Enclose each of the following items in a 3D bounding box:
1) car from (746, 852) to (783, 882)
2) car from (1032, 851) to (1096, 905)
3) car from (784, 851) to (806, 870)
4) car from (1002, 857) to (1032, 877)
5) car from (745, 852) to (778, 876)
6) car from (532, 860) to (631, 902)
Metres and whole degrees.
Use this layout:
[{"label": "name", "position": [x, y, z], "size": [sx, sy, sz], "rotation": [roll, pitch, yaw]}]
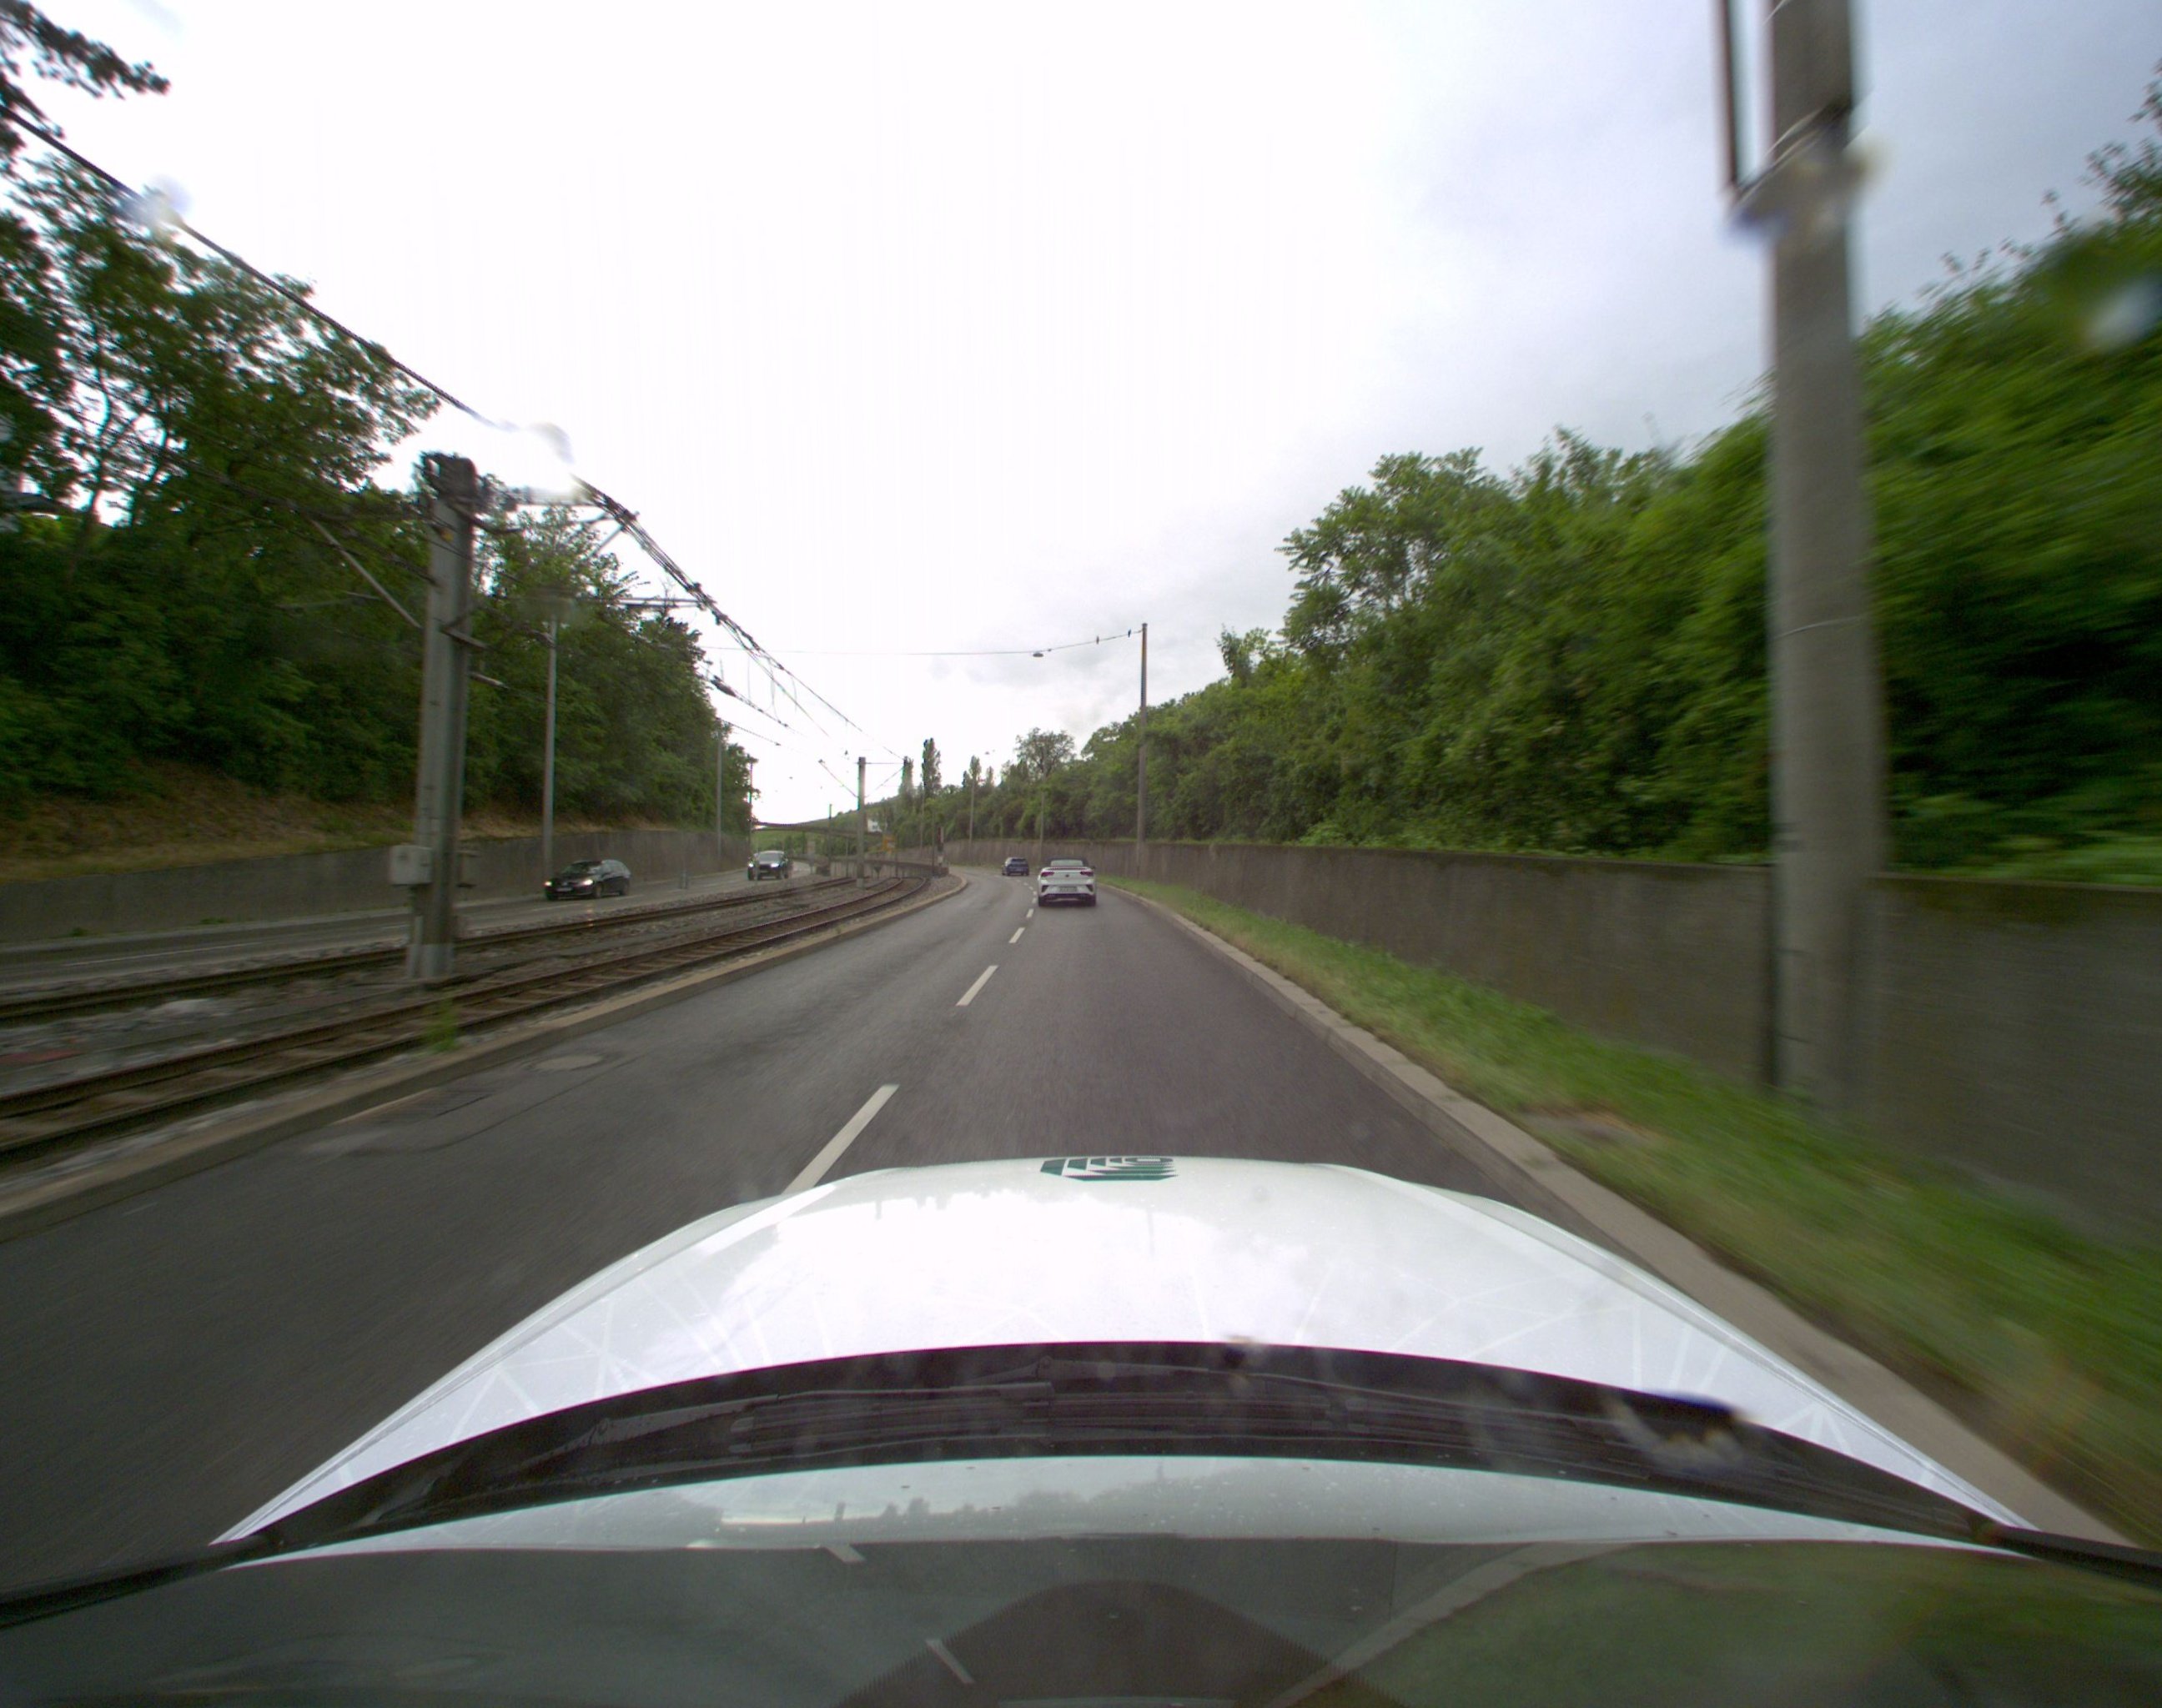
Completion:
[{"label": "car", "position": [-20.173, 0.782, 52.038], "size": [1.932, 1.787, 4.424], "rotation": [-1, 0, -18]}, {"label": "car", "position": [-0.470, 0.712, 26.215], "size": [1.865, 1.524, 4.540], "rotation": [-1, 0, 1]}, {"label": "car", "position": [-28.101, 0.638, 80.075], "size": [1.932, 1.787, 4.424], "rotation": [-1, 0, -18]}, {"label": "car", "position": [-5.121, 0.976, 64.463], "size": [1.766, 1.501, 3.981], "rotation": [0, 0, -14]}, {"label": "car", "position": [-27.566, 0.803, 70.360], "size": [1.994, 2.013, 3.985], "rotation": [0, 0, -11]}, {"label": "car", "position": [-19.473, 1.013, 31.990], "size": [1.929, 1.415, 4.432], "rotation": [-2, 0, -13]}]
